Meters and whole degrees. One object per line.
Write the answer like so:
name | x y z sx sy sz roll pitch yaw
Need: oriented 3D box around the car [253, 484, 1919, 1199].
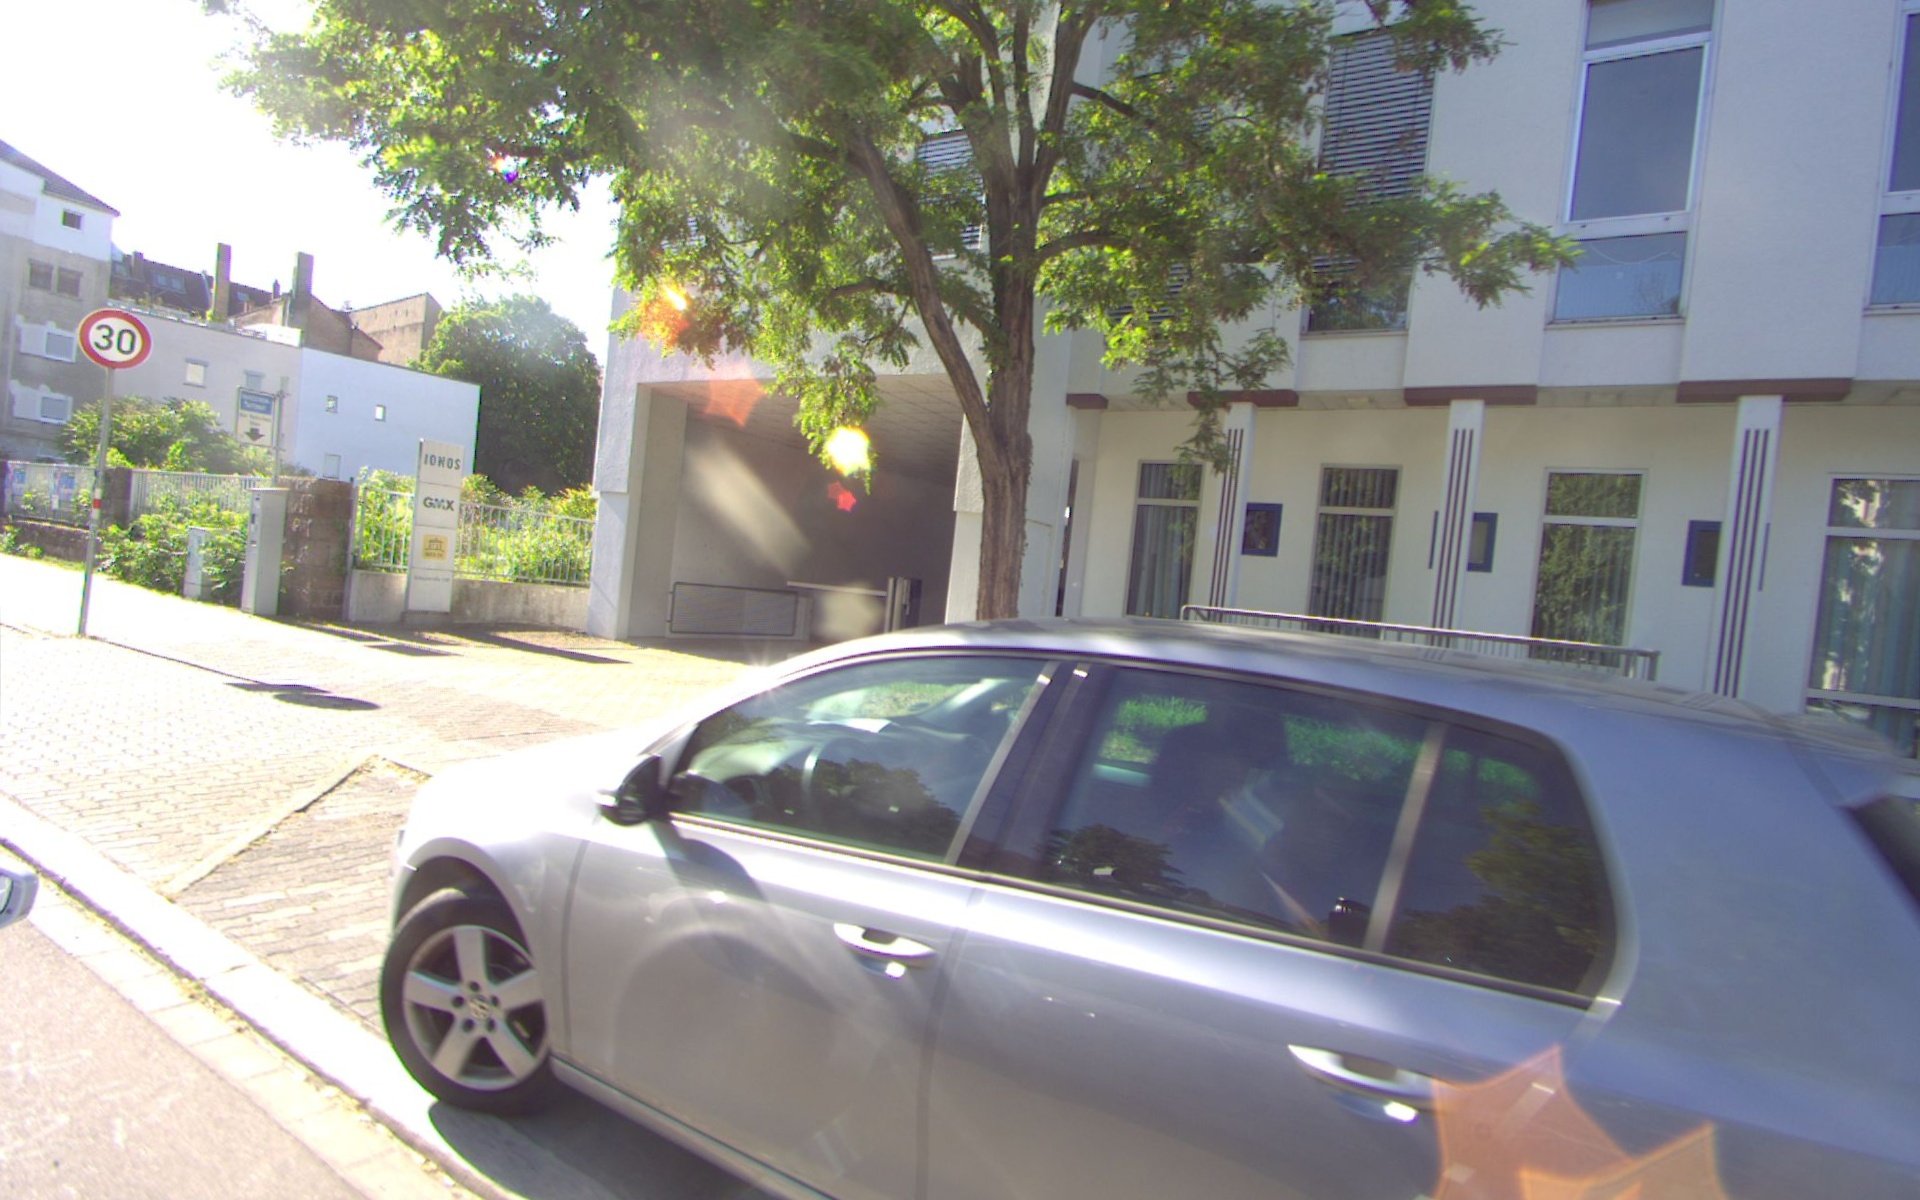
car | 0.013 0.671 2.693 4.087 1.467 1.638 9 2 33
